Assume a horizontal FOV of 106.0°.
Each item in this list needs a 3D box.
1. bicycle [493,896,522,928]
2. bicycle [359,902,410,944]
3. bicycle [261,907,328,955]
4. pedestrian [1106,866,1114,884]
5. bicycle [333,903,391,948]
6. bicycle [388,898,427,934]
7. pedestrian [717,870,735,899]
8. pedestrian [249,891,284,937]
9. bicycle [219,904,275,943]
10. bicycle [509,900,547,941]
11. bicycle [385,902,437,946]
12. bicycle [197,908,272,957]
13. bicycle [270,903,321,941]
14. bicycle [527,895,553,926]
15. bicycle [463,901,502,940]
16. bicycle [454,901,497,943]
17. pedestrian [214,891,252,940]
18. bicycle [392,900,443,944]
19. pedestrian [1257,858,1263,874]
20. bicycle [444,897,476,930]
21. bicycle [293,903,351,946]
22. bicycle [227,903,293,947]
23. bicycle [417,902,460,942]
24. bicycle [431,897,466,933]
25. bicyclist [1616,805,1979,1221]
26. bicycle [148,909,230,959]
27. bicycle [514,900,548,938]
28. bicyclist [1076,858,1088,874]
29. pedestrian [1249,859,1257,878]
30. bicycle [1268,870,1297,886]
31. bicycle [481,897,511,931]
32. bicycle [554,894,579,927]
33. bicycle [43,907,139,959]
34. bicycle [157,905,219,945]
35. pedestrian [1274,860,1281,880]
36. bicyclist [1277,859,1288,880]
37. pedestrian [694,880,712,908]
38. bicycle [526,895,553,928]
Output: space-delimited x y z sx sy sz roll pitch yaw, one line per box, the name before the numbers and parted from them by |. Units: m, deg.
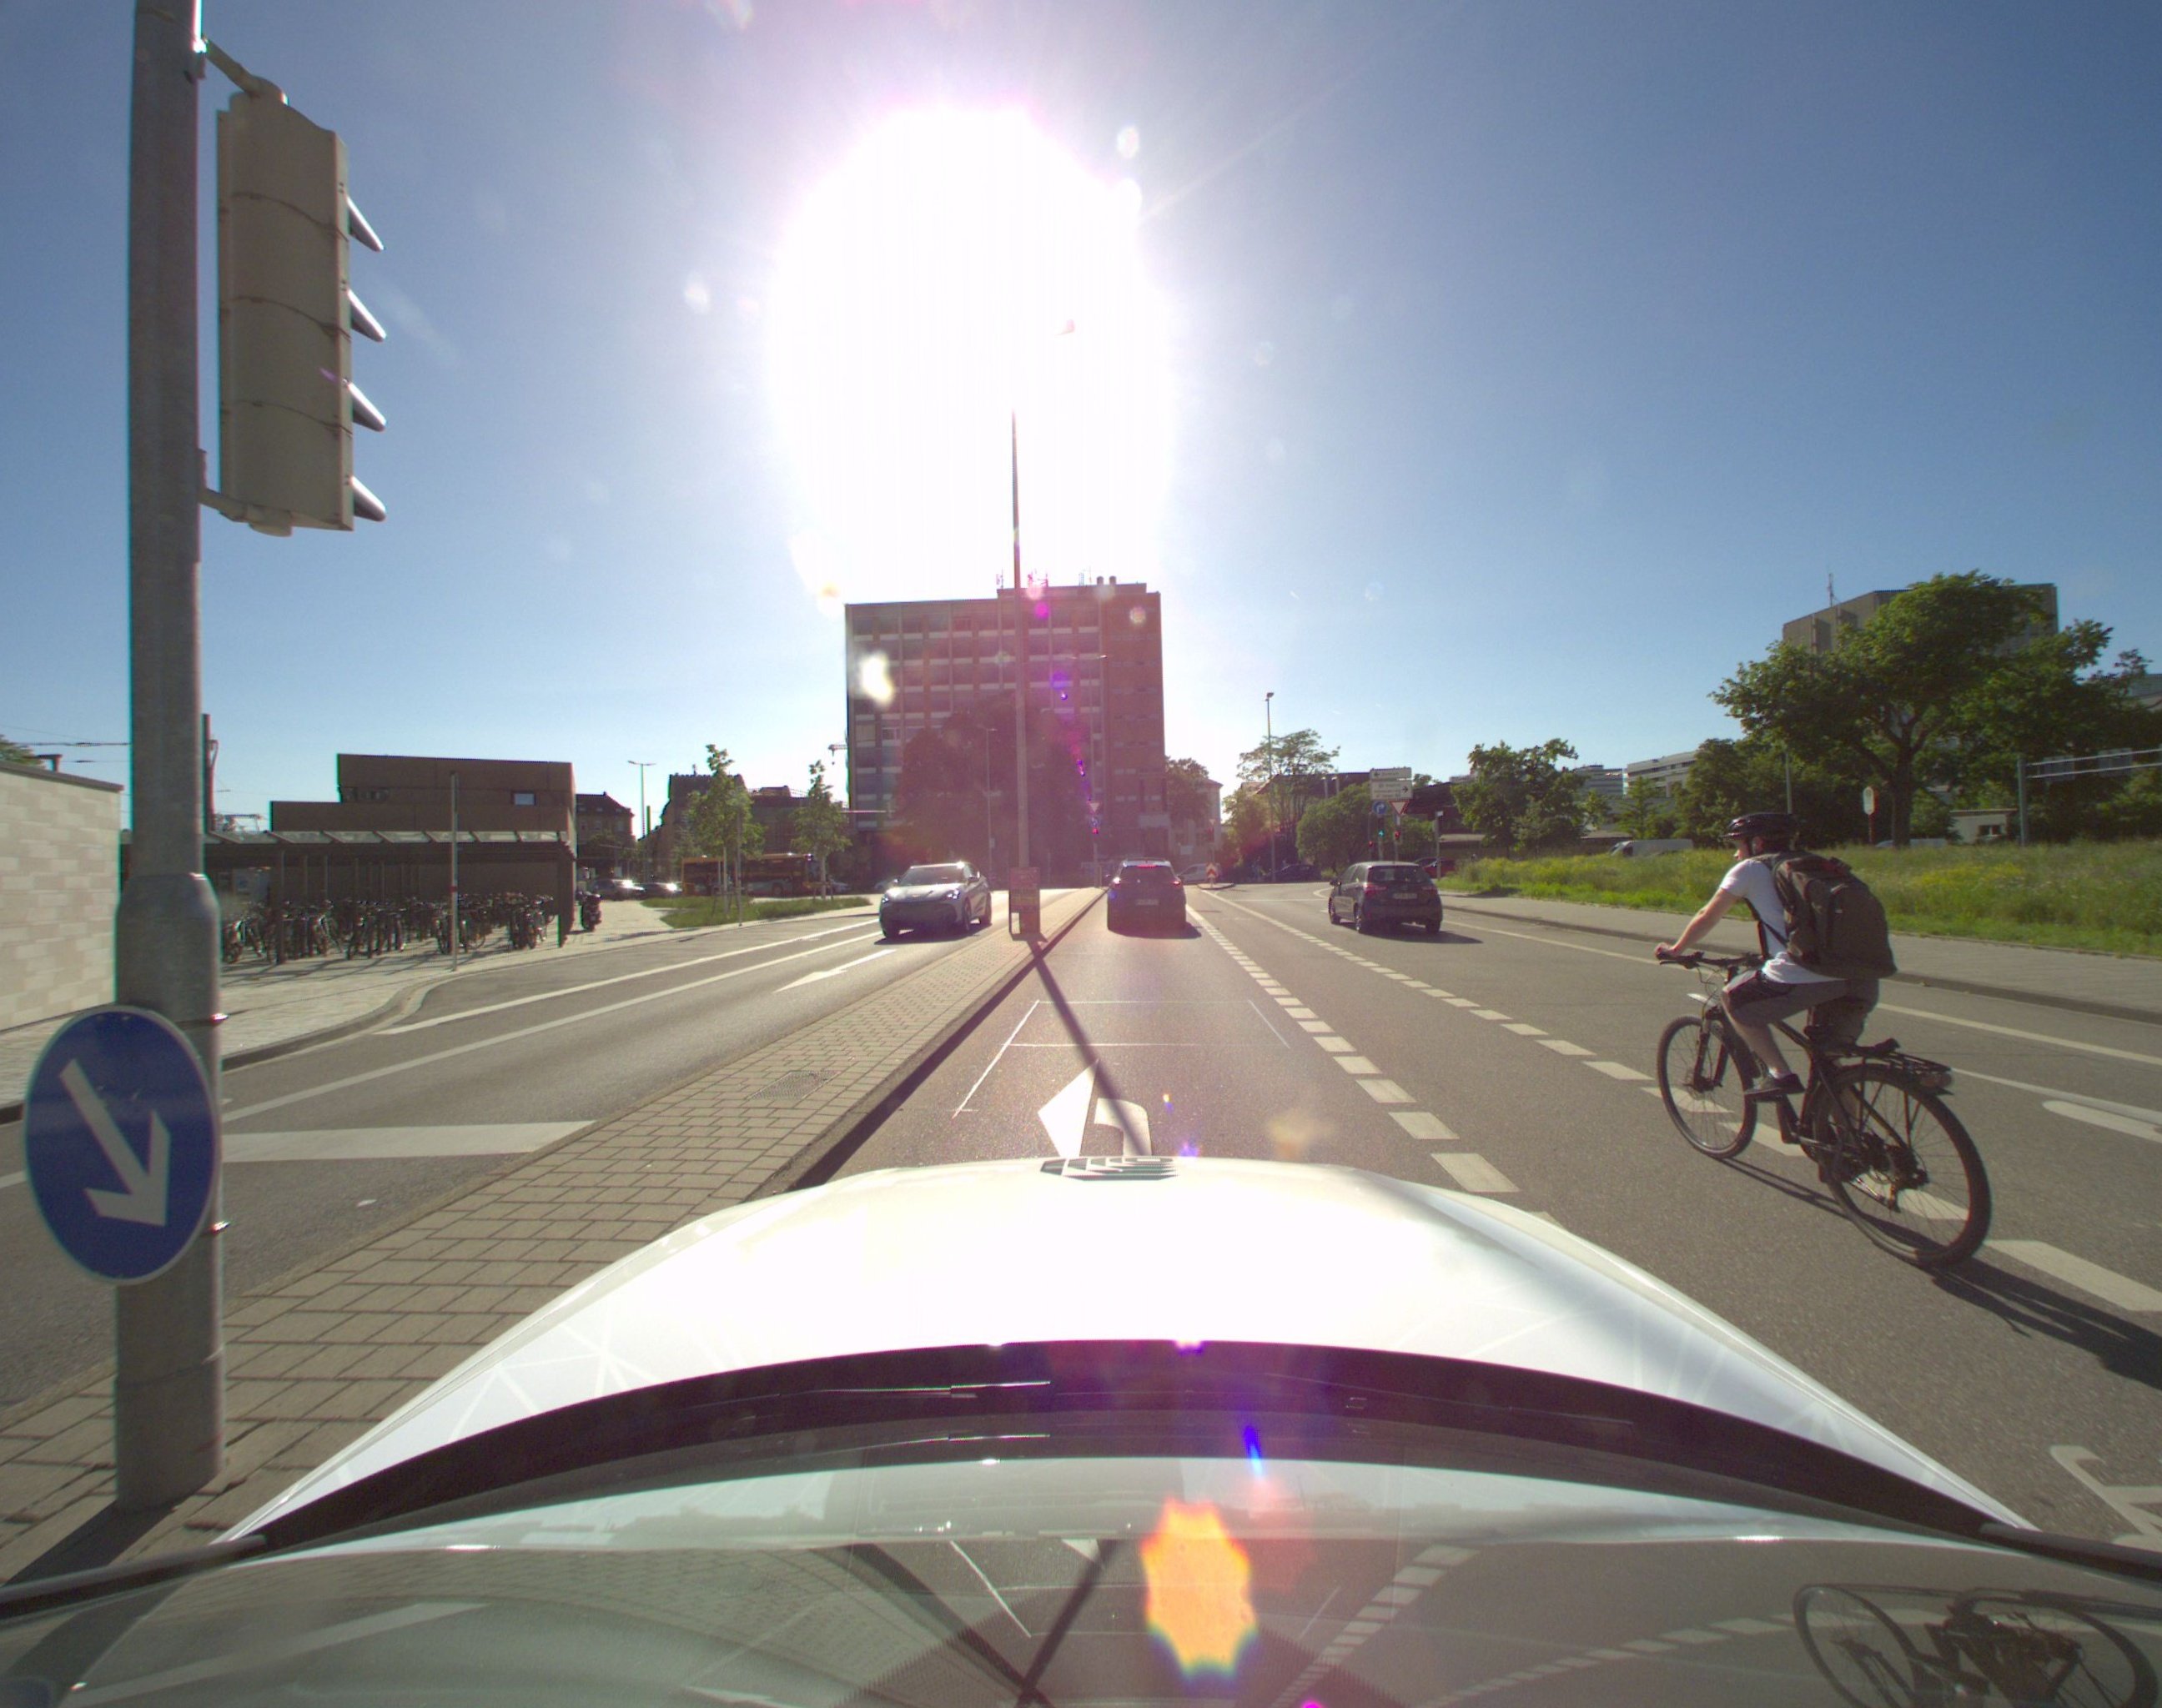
bicycle | -20.397 2.053 28.998 0.584 1.088 1.854 0 -3 -28
bicycle | -19.715 1.925 23.080 0.583 1.088 2.040 0 -3 -26
bicycle | -19.643 1.889 20.375 0.583 1.088 2.040 0 -3 -26
pedestrian | 2.718 1.954 76.776 0.555 1.670 0.479 -2 -3 19
bicycle | -18.615 1.822 21.134 0.583 1.088 2.040 0 -3 -26
bicycle | -21.519 1.964 26.058 0.584 1.088 1.854 0 -3 -28
pedestrian | -21.803 1.856 50.041 0.619 1.742 0.792 -2 -3 20
pedestrian | -34.196 2.518 34.206 0.853 1.883 0.752 1 -3 -33
bicycle | -24.579 2.029 24.033 0.584 1.088 1.854 0 -3 -28
bicycle | -15.490 1.840 22.835 0.583 1.088 2.040 0 -3 -26
bicycle | -17.598 1.817 21.424 0.583 1.088 2.040 0 -3 -26
bicycle | -20.609 1.884 19.875 0.583 1.088 2.040 0 -3 -26
bicycle | -23.722 2.039 24.617 0.584 1.088 1.854 0 -3 -28
bicycle | -19.562 2.037 29.485 0.584 1.088 1.854 0 -3 -28
bicycle | -17.776 1.939 24.212 0.583 1.088 1.912 0 -3 -26
bicycle | -16.621 1.841 22.387 0.583 1.088 2.040 0 -3 -26
pedestrian | -33.808 2.436 32.476 0.853 1.883 0.752 1 -3 -33
bicycle | -17.666 1.782 21.725 0.583 1.088 2.040 0 -3 -26
pedestrian | 18.473 1.215 84.117 0.573 1.670 0.564 -2 -3 14
bicycle | -21.512 2.040 28.234 0.584 1.088 1.854 0 -3 -28
bicycle | -20.902 1.919 22.462 0.583 1.088 2.040 0 -3 -26
bicycle | -21.913 1.875 21.776 0.583 1.088 2.040 0 -3 -26
bicycle | -18.742 1.960 23.803 0.583 1.088 1.883 0 -3 -26
bicycle | -20.597 1.968 26.540 0.584 1.088 1.854 0 -3 -28
bicyclist | 3.161 0.631 3.732 0.719 1.626 1.055 0 -1 1
bicycle | -21.303 1.880 19.500 0.583 1.088 2.040 0 -3 -26
bicycle | -16.690 1.942 24.734 0.583 1.088 1.998 0 -3 -26
bicyclist | 0.082 1.064 74.821 0.822 1.444 0.614 -1 -1 -33
pedestrian | 15.314 1.297 72.492 0.555 1.670 0.479 -2 -3 19
bicycle | 18.005 2.157 72.762 2.430 1.371 0.855 -2 -3 19
bicycle | -19.517 1.977 27.200 0.584 1.088 1.854 1 -3 -29
bicycle | -17.778 1.942 28.155 0.584 1.088 1.854 1 -3 -29
bicycle | -22.729 1.791 18.744 0.583 1.088 2.040 0 -3 -26
bicycle | -25.733 2.026 23.492 0.584 1.088 1.854 0 -3 -28
pedestrian | 16.962 1.385 70.243 0.551 1.670 0.479 -2 -3 19
bicyclist | 17.993 1.421 72.754 0.849 1.847 0.855 -2 -3 20
pedestrian | -23.726 2.497 51.141 0.648 1.742 0.792 -2 -3 20
bicycle | -18.504 1.941 27.838 0.584 1.088 1.854 1 -3 -29
